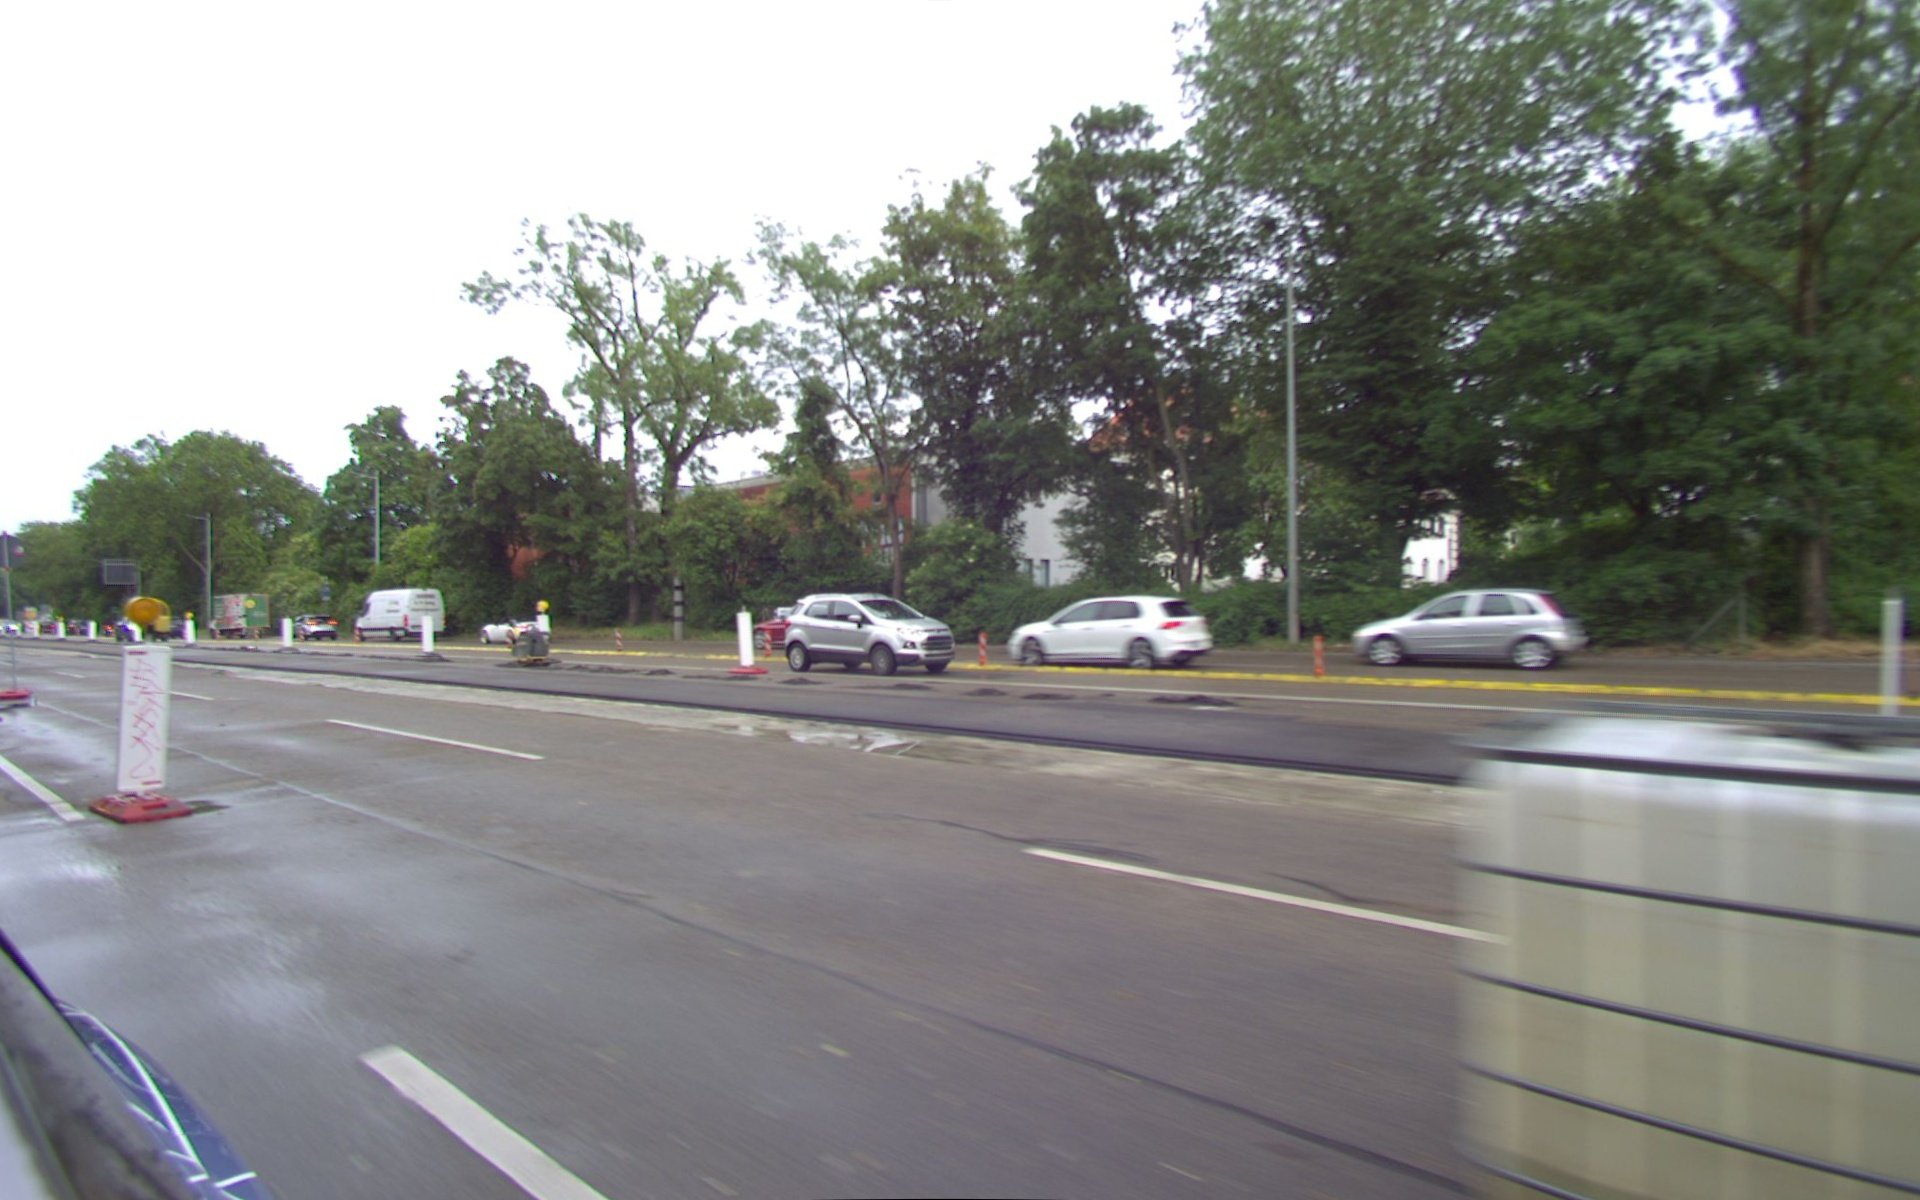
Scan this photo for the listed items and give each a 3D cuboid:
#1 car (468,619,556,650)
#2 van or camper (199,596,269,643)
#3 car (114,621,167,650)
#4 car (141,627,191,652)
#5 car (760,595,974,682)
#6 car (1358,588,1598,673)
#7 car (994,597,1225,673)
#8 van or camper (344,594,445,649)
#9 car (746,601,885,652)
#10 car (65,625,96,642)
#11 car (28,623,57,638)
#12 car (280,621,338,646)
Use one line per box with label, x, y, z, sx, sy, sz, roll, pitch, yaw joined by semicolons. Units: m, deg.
car;-19.159;1.464;43.191;3.992;1.192;1.674;-2;1;37
van or camper;-50.641;1.362;70.521;7.446;3.086;2.274;-1;-1;40
car;-51.113;2.178;63.117;4.813;1.641;1.971;-1;0;44
car;-57.654;2.855;73.458;4.804;1.706;1.973;-2;-2;41
car;-2.000;0.762;20.971;4.361;1.576;1.869;-2;0;41
car;9.547;0.536;18.793;3.638;1.411;1.661;-2;0;42
car;3.022;0.691;21.037;4.390;1.426;1.973;-1;-1;40
van or camper;-28.915;1.077;51.605;7.726;2.574;1.973;-2;1;41
car;-4.535;0.807;31.335;4.484;1.487;1.711;-1;-1;40
car;-81.798;3.086;94.123;4.107;1.453;1.669;-2;0;42
car;-102.656;3.399;113.229;4.395;1.564;1.869;-2;0;41
car;-38.074;1.948;59.155;4.078;1.375;1.698;-2;-1;40
